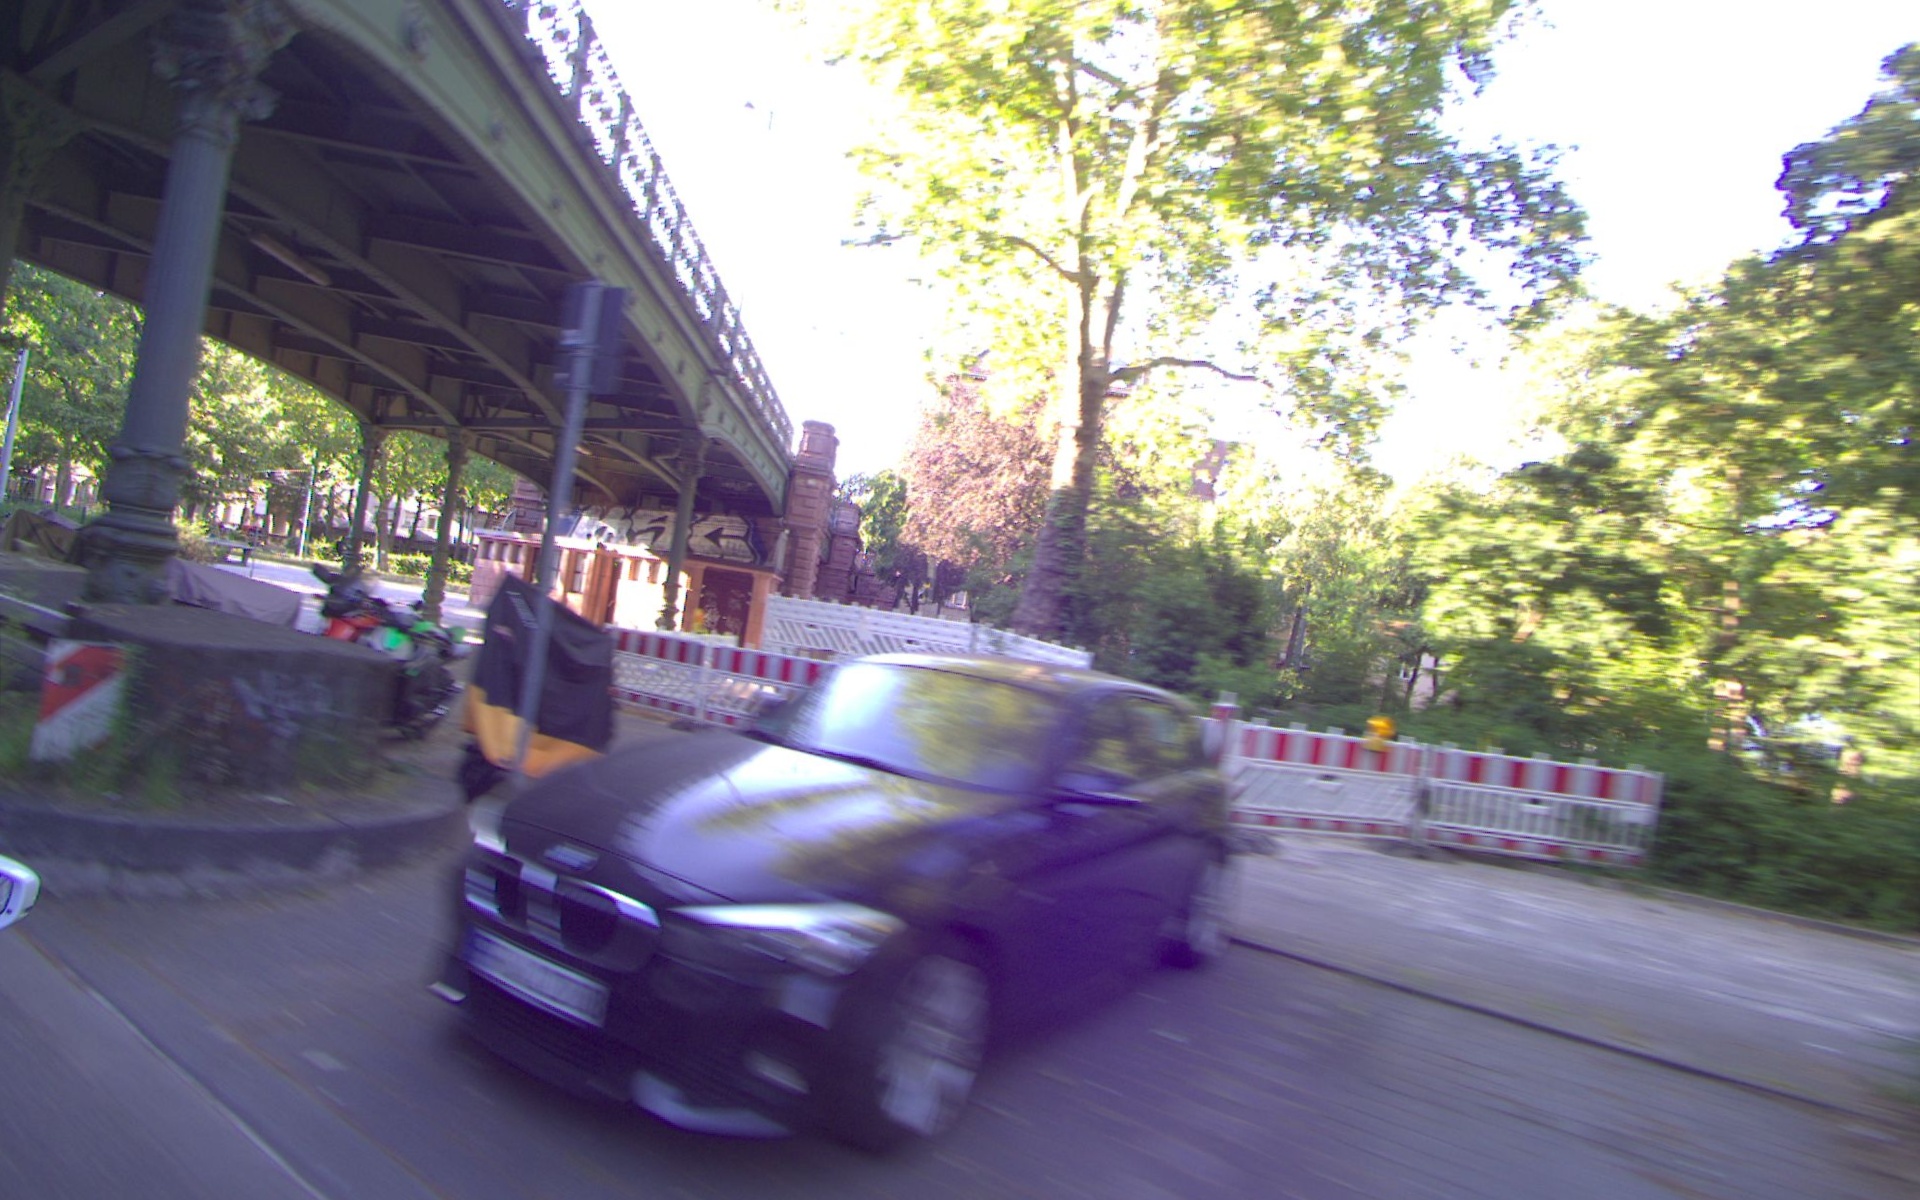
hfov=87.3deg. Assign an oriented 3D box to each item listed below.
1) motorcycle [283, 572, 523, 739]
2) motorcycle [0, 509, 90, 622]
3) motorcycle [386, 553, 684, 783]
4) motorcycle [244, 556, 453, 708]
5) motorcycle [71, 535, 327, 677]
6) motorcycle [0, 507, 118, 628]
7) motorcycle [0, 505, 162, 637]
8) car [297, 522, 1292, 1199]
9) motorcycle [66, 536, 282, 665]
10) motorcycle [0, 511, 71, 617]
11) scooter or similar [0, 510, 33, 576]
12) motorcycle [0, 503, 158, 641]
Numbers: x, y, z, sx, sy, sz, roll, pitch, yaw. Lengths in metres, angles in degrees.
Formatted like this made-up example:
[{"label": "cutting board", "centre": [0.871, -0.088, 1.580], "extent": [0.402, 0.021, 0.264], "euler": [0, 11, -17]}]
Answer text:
[{"label": "motorcycle", "centre": [-4.206, 0.447, 7.789], "extent": [0.798, 1.040, 1.729], "euler": [8, -4, -2]}, {"label": "motorcycle", "centre": [-13.294, -0.526, 13.995], "extent": [1.594, 1.423, 0.705], "euler": [11, -5, -38]}, {"label": "motorcycle", "centre": [-2.784, 0.488, 6.918], "extent": [0.887, 1.250, 1.941], "euler": [7, -4, 7]}, {"label": "motorcycle", "centre": [-5.396, 0.327, 9.026], "extent": [0.699, 1.144, 1.729], "euler": [8, -4, -2]}, {"label": "motorcycle", "centre": [-7.480, 0.114, 10.036], "extent": [0.834, 1.144, 1.842], "euler": [7, -4, 9]}, {"label": "motorcycle", "centre": [-12.548, -0.454, 13.582], "extent": [1.594, 1.423, 0.705], "euler": [11, -5, -38]}, {"label": "motorcycle", "centre": [-11.555, -0.350, 13.135], "extent": [1.594, 1.423, 0.705], "euler": [11, -5, -38]}, {"label": "car", "centre": [0.040, 0.938, 4.300], "extent": [1.646, 1.593, 4.389], "euler": [6, -5, 30]}, {"label": "motorcycle", "centre": [-8.435, 0.049, 10.887], "extent": [0.699, 1.144, 1.609], "euler": [7, -4, 16]}, {"label": "motorcycle", "centre": [-14.101, -0.593, 14.579], "extent": [1.594, 1.423, 0.705], "euler": [11, -5, -38]}, {"label": "scooter or similar", "centre": [-20.554, -1.247, 21.629], "extent": [1.305, 1.311, 0.478], "euler": [5, -4, 35]}, {"label": "motorcycle", "centre": [-10.987, -0.334, 12.351], "extent": [1.594, 1.423, 0.705], "euler": [11, -5, -38]}]
